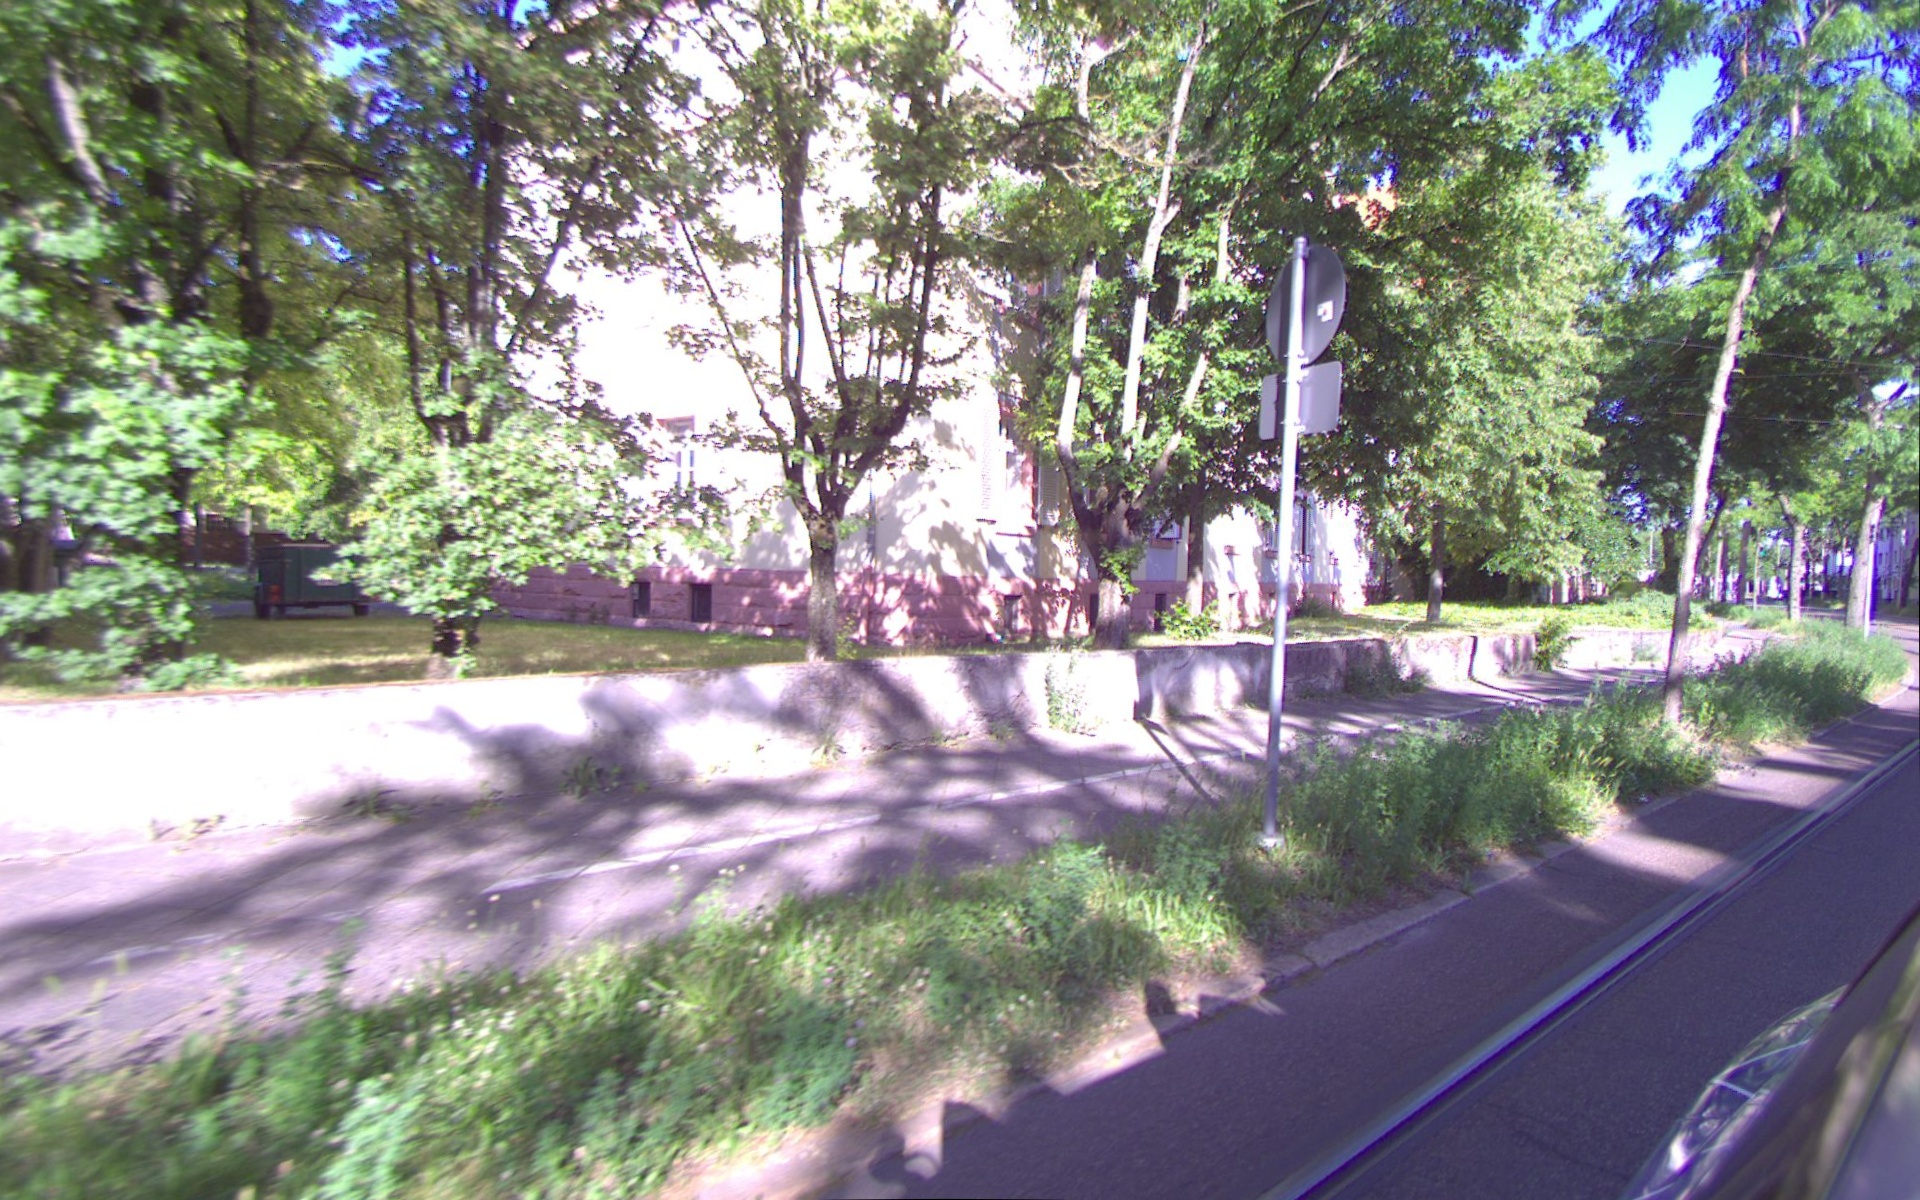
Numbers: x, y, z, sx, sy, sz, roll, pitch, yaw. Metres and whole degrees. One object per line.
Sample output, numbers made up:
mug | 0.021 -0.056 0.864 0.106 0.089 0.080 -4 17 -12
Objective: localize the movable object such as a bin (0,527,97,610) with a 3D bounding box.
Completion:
movable object such as a bin | -17.271 -0.545 19.043 1.462 1.461 2.227 0 -1 -44
